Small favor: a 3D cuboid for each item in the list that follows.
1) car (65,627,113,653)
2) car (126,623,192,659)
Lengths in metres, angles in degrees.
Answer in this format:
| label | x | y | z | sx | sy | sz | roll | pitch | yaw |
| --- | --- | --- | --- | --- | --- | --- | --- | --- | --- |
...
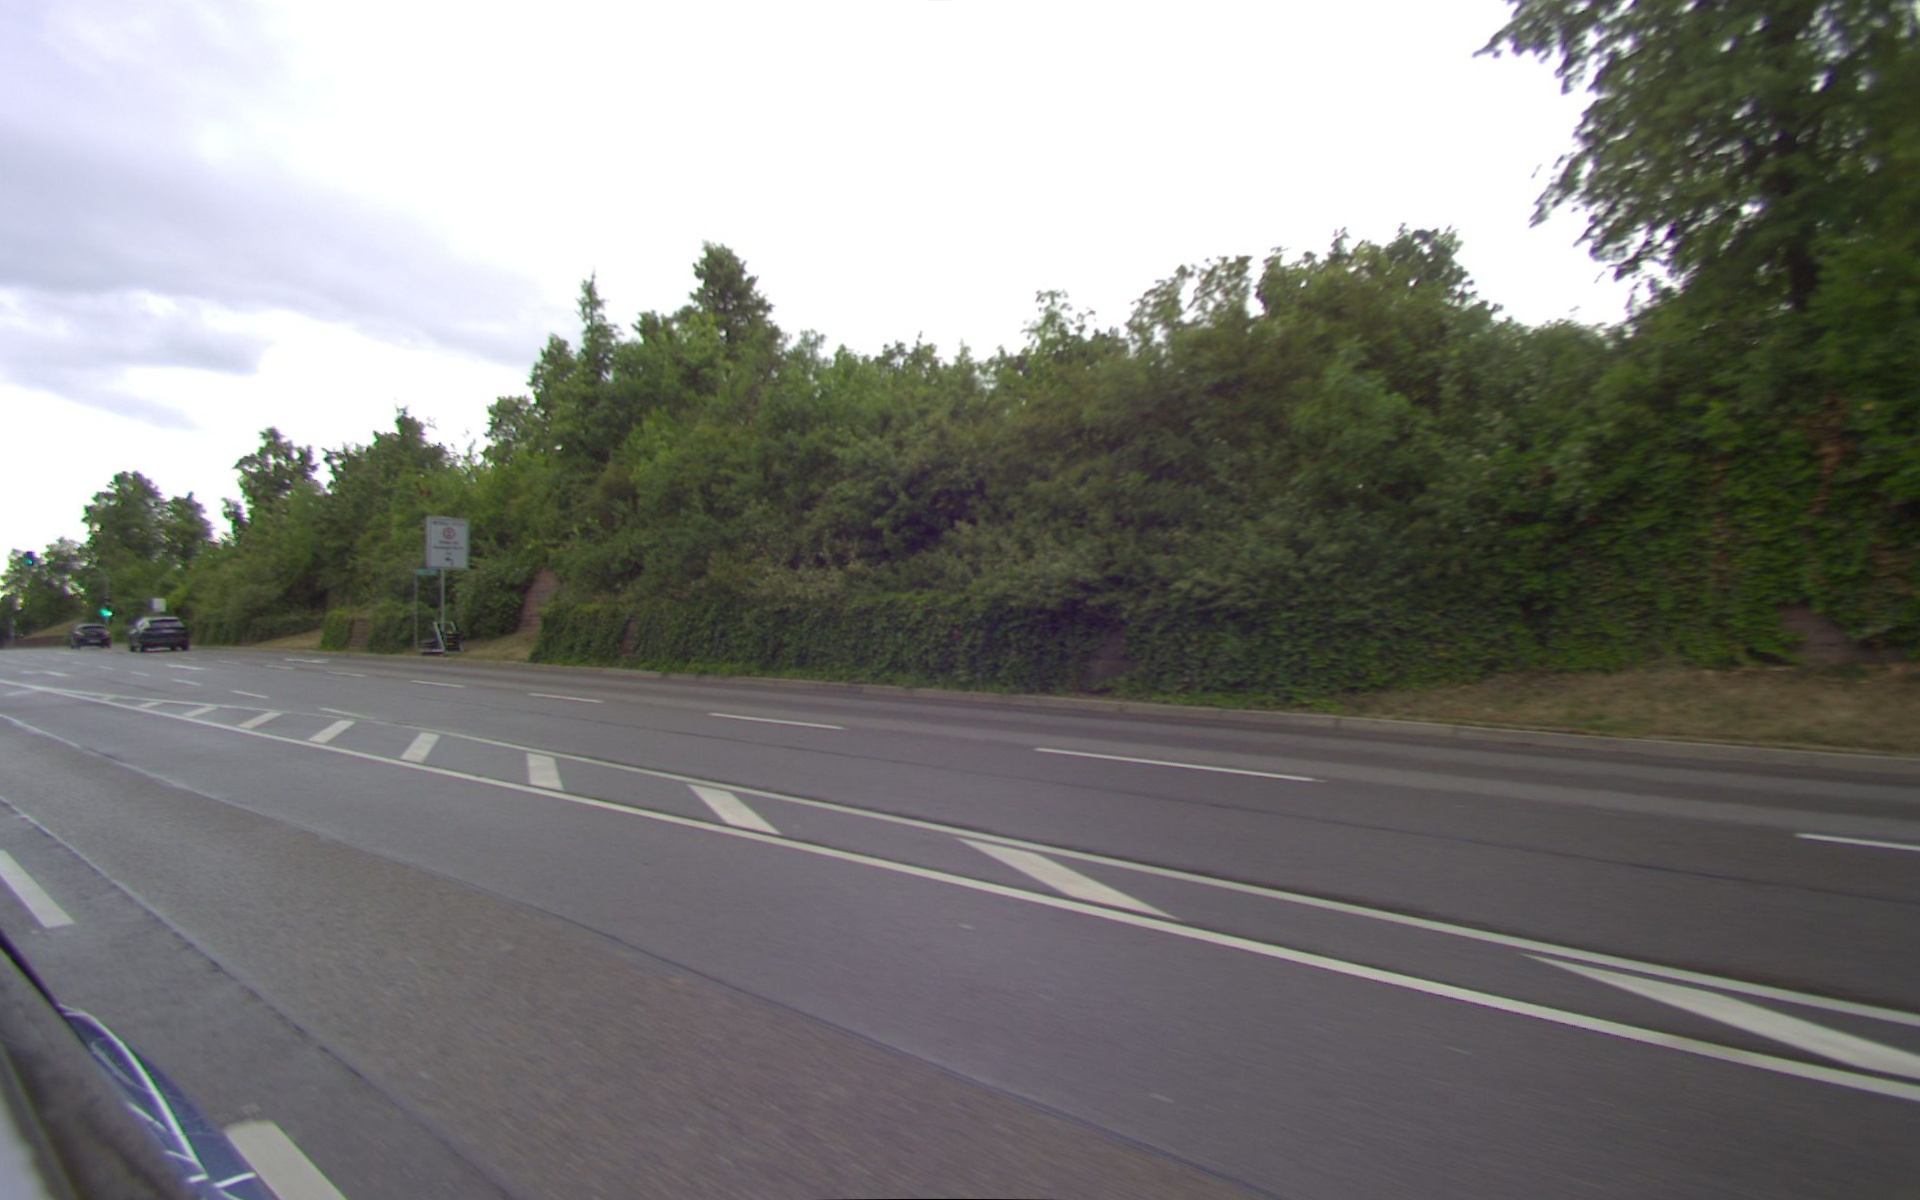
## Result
| label | x | y | z | sx | sy | sz | roll | pitch | yaw |
| --- | --- | --- | --- | --- | --- | --- | --- | --- | --- |
| car | -52.527 | 2.410 | 61.036 | 3.860 | 1.478 | 1.657 | -2 | -1 | 41 |
| car | -38.668 | 1.950 | 48.808 | 4.427 | 1.618 | 1.781 | -2 | -1 | 42 |
